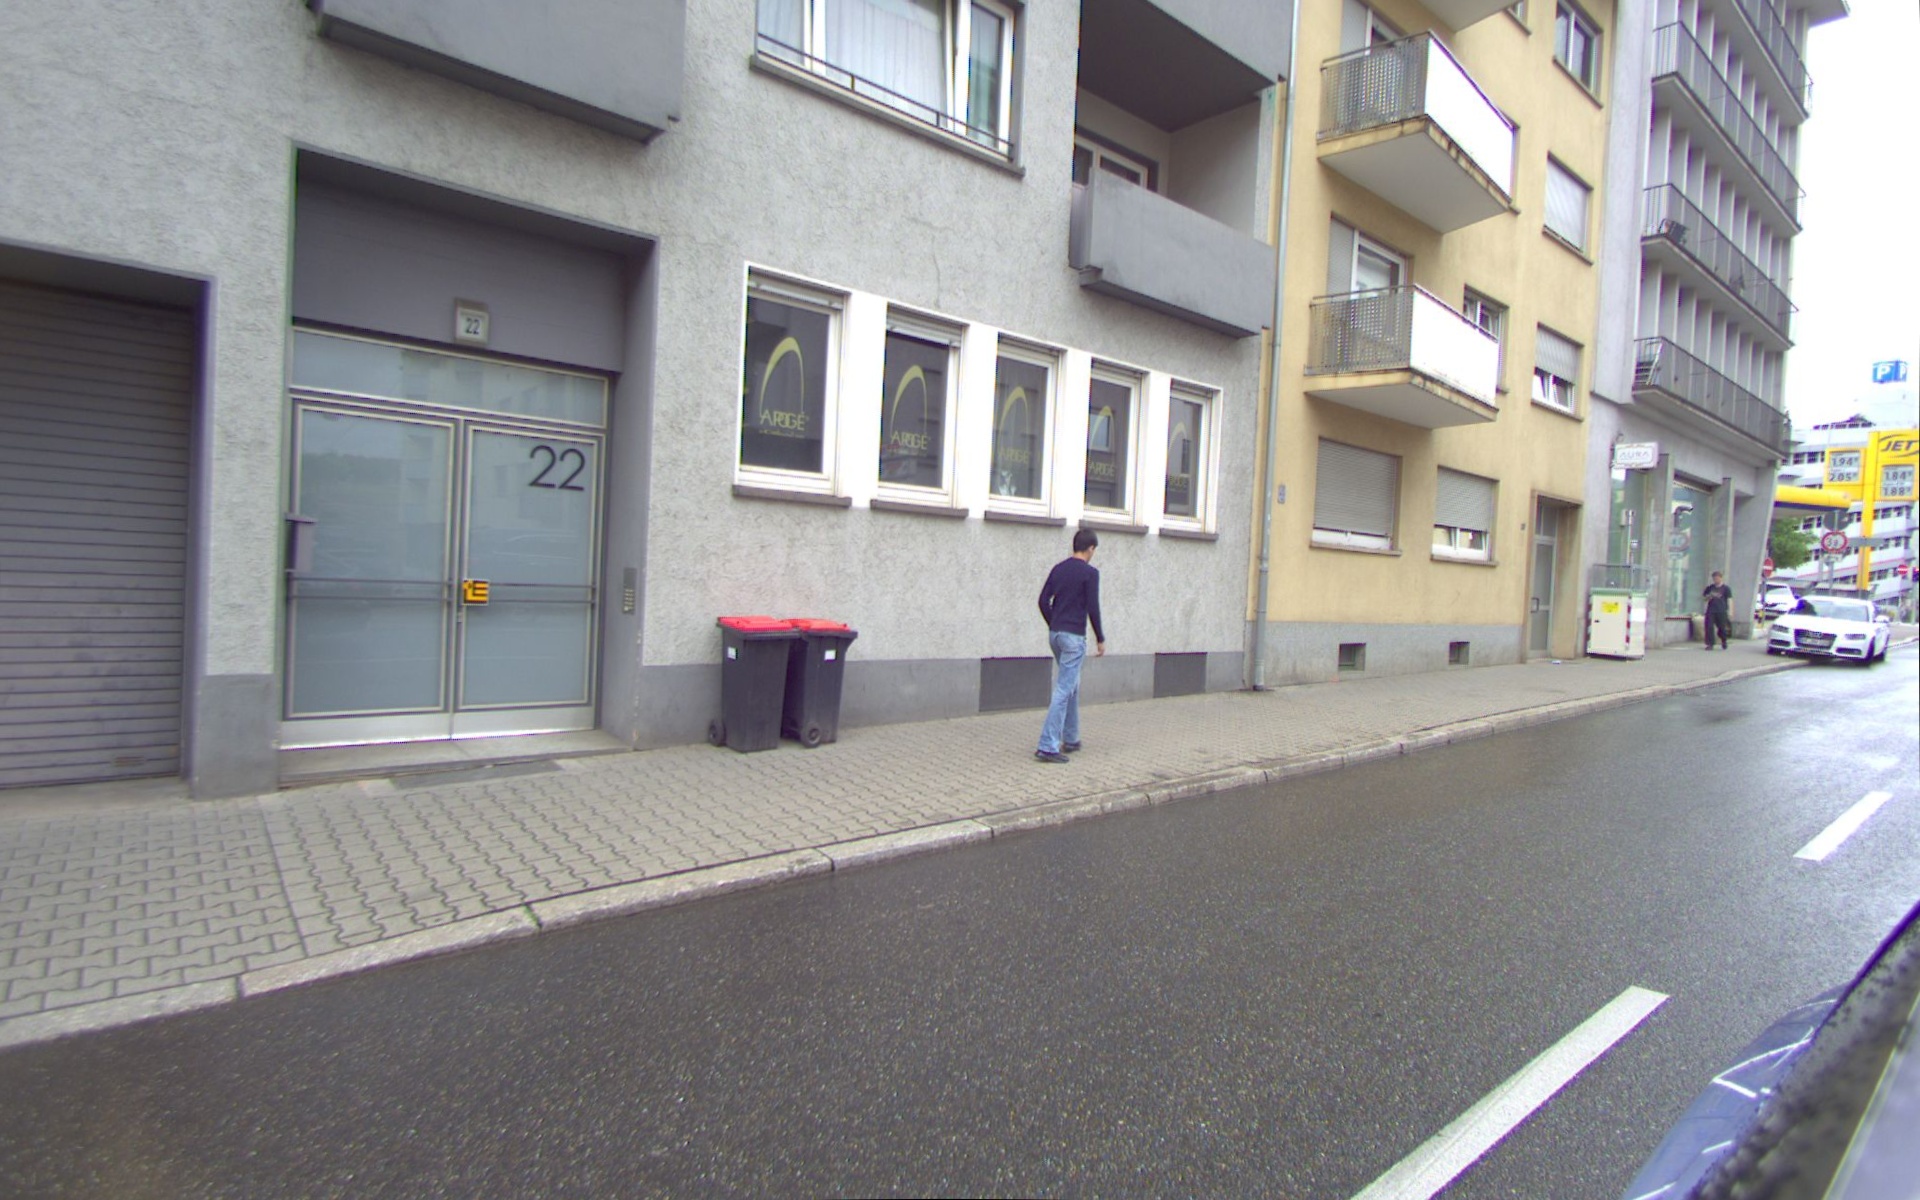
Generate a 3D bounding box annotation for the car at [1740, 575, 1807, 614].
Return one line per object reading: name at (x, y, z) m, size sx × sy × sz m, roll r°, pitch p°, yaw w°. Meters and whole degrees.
car at (32.577, -0.222, 40.509) m, size 1.766 × 1.493 × 3.937 m, roll 0°, pitch 0°, yaw 44°

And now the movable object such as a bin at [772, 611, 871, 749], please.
movable object such as a bin at (-1.068, 0.593, 7.792) m, size 0.506 × 0.961 × 0.541 m, roll 0°, pitch 5°, yaw -40°

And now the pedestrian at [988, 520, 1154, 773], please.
pedestrian at (0.859, 0.316, 7.811) m, size 1.038 × 1.799 × 0.644 m, roll 0°, pitch 5°, yaw -41°

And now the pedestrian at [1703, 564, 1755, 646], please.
pedestrian at (17.417, 0.103, 22.908) m, size 0.872 × 1.777 × 0.679 m, roll 0°, pitch 2°, yaw -39°

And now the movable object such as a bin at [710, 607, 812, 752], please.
movable object such as a bin at (-1.466, 0.561, 7.446) m, size 0.506 × 0.967 × 0.541 m, roll 0°, pitch 5°, yaw -40°

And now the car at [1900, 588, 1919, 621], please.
car at (54.061, 0.334, 54.907) m, size 1.960 × 1.782 × 4.005 m, roll 1°, pitch 3°, yaw -31°

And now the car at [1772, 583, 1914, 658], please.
car at (20.124, 0.410, 23.012) m, size 4.093 × 1.453 × 1.803 m, roll 0°, pitch 4°, yaw -41°
